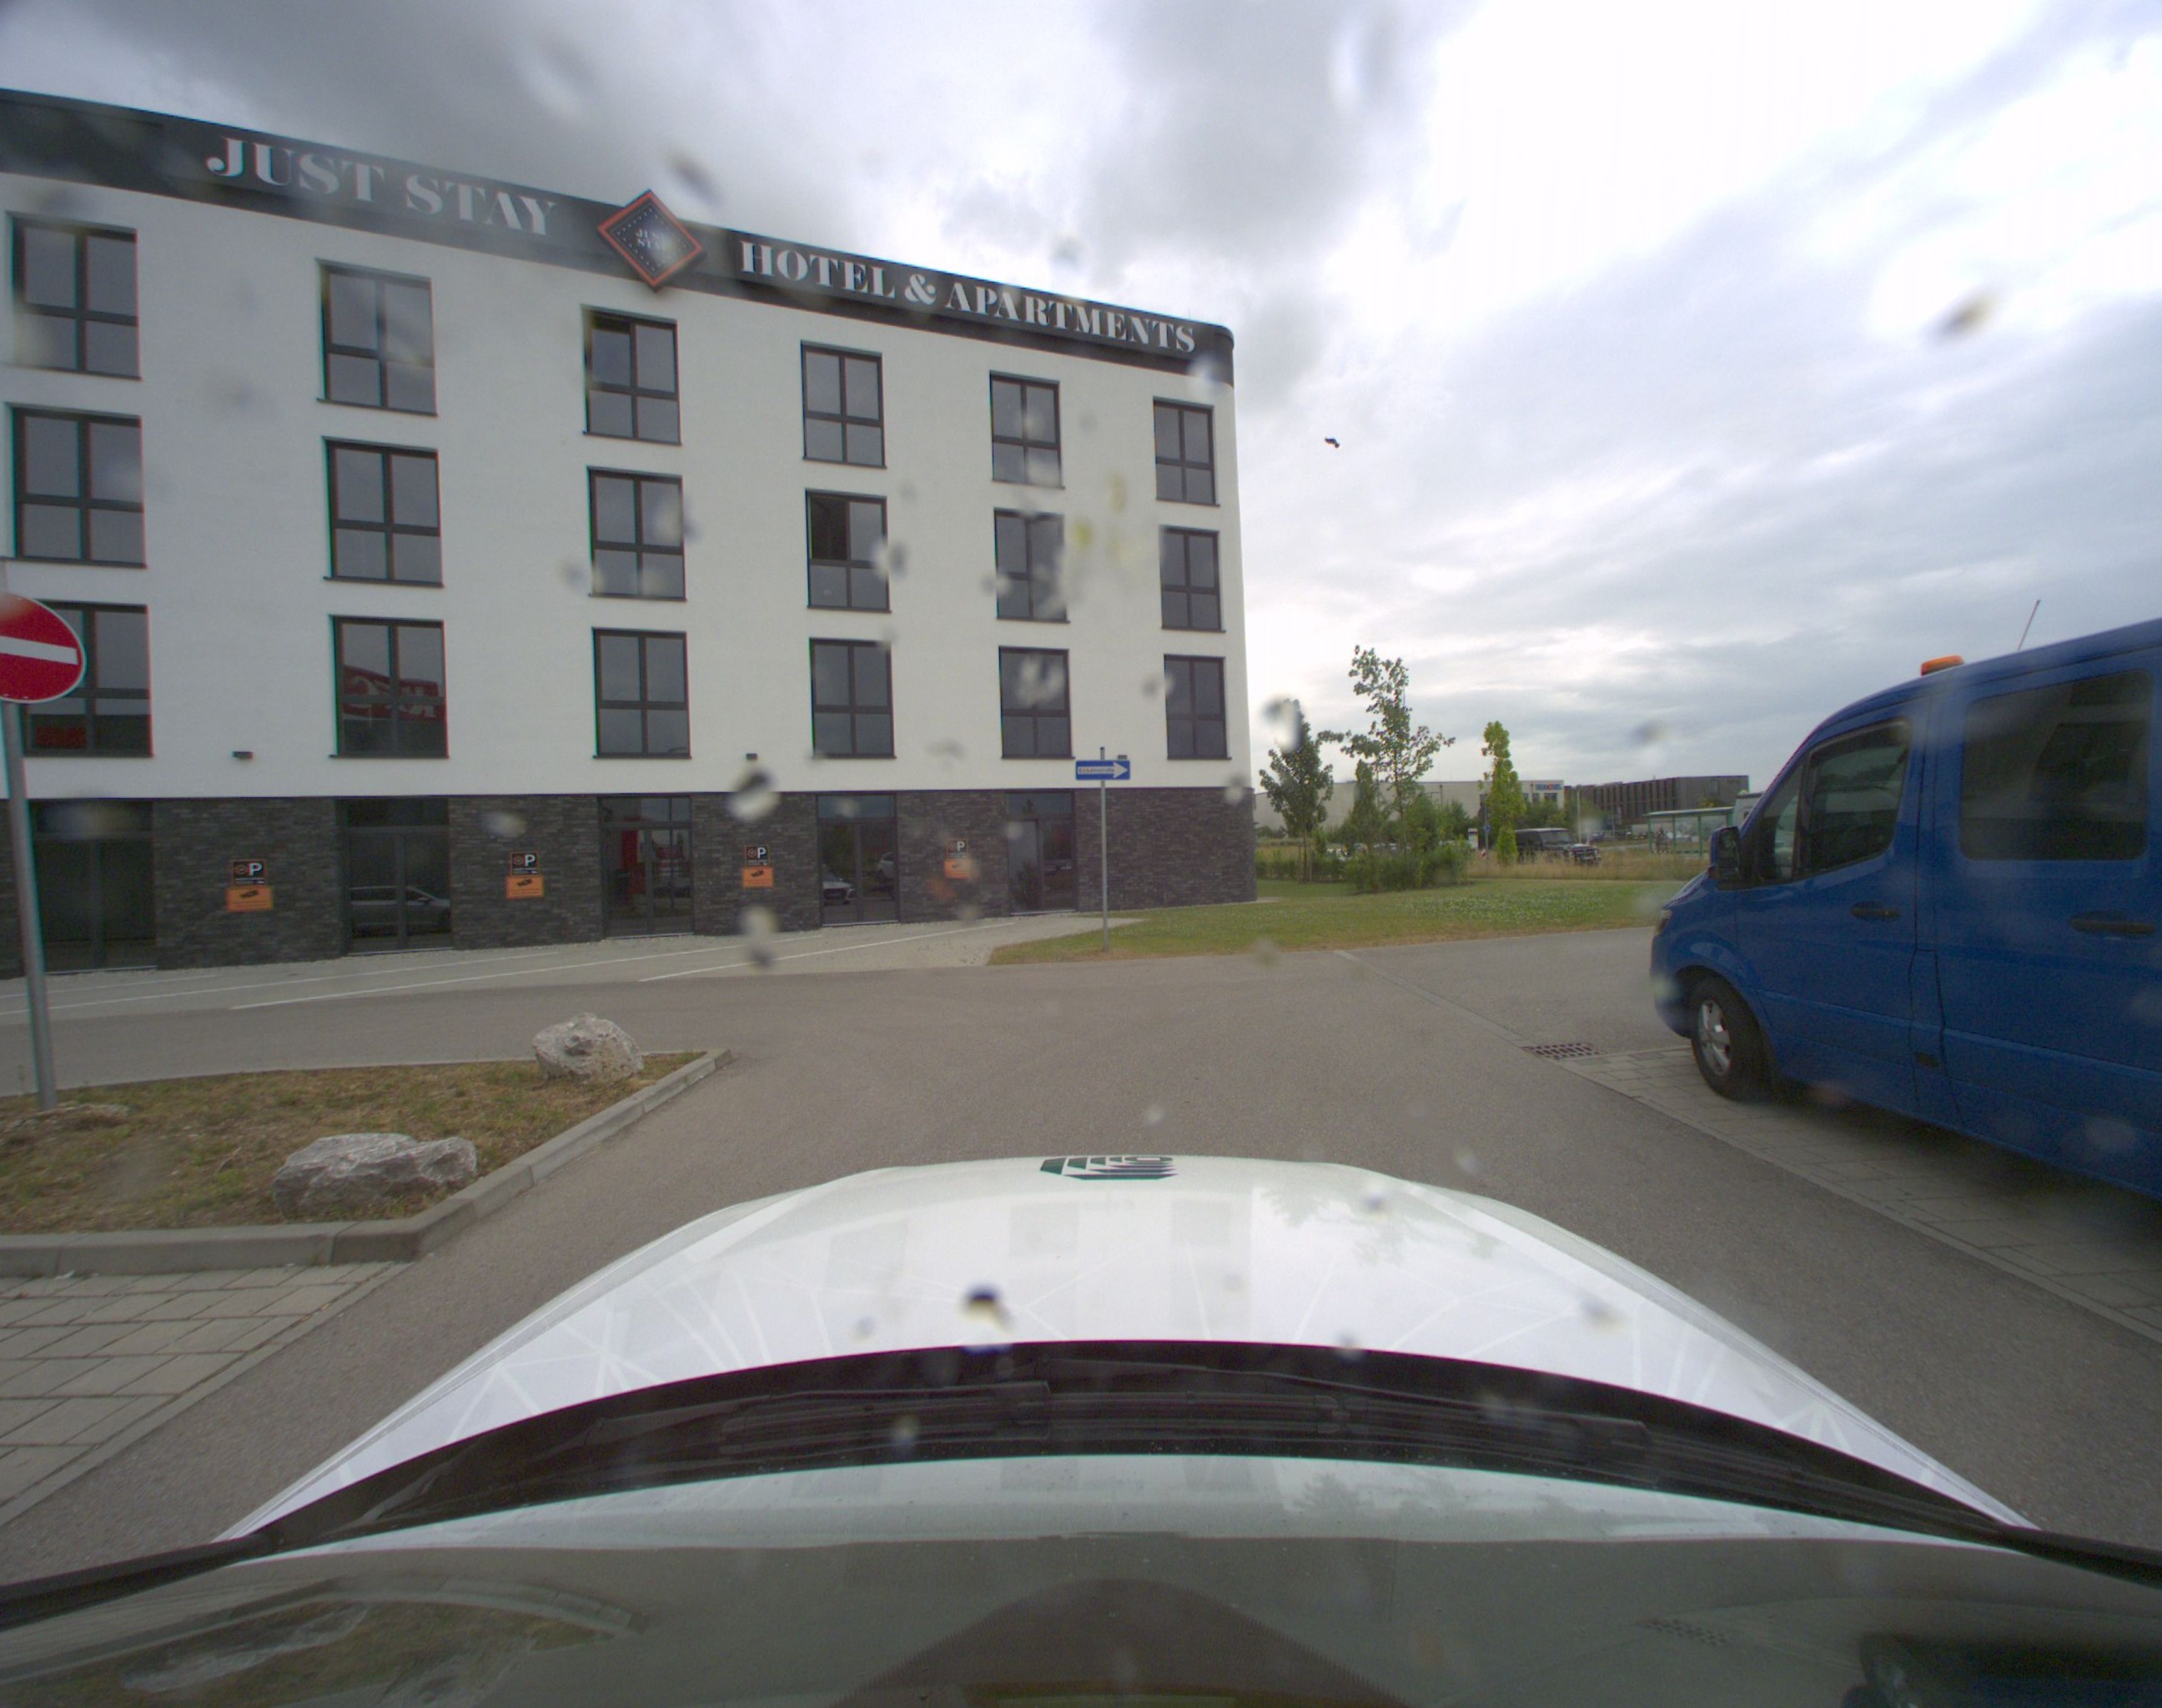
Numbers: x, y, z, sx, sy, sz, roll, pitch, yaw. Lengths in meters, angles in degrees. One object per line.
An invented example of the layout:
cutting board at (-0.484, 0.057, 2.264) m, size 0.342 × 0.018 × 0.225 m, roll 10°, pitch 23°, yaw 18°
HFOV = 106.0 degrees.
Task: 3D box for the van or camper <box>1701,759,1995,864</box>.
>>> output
van or camper at (21.421, -1.089, 23.306) m, size 2.186 × 2.541 × 6.153 m, roll -2°, pitch 1°, yaw -6°

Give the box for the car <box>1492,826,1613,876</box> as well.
car at (19.957, -0.154, 34.772) m, size 1.991 × 1.923 × 4.838 m, roll -2°, pitch 1°, yaw -6°

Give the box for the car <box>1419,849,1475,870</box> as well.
car at (24.763, 0.341, 55.270) m, size 1.710 × 1.343 × 3.956 m, roll -2°, pitch 0°, yaw -6°

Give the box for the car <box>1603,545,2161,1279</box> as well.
car at (4.420, 0.157, 1.705) m, size 2.183 × 2.322 × 7.869 m, roll -2°, pitch 0°, yaw 5°

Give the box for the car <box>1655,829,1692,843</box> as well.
car at (70.629, -2.158, 97.139) m, size 3.637 × 1.486 × 1.672 m, roll -3°, pitch 0°, yaw -16°
